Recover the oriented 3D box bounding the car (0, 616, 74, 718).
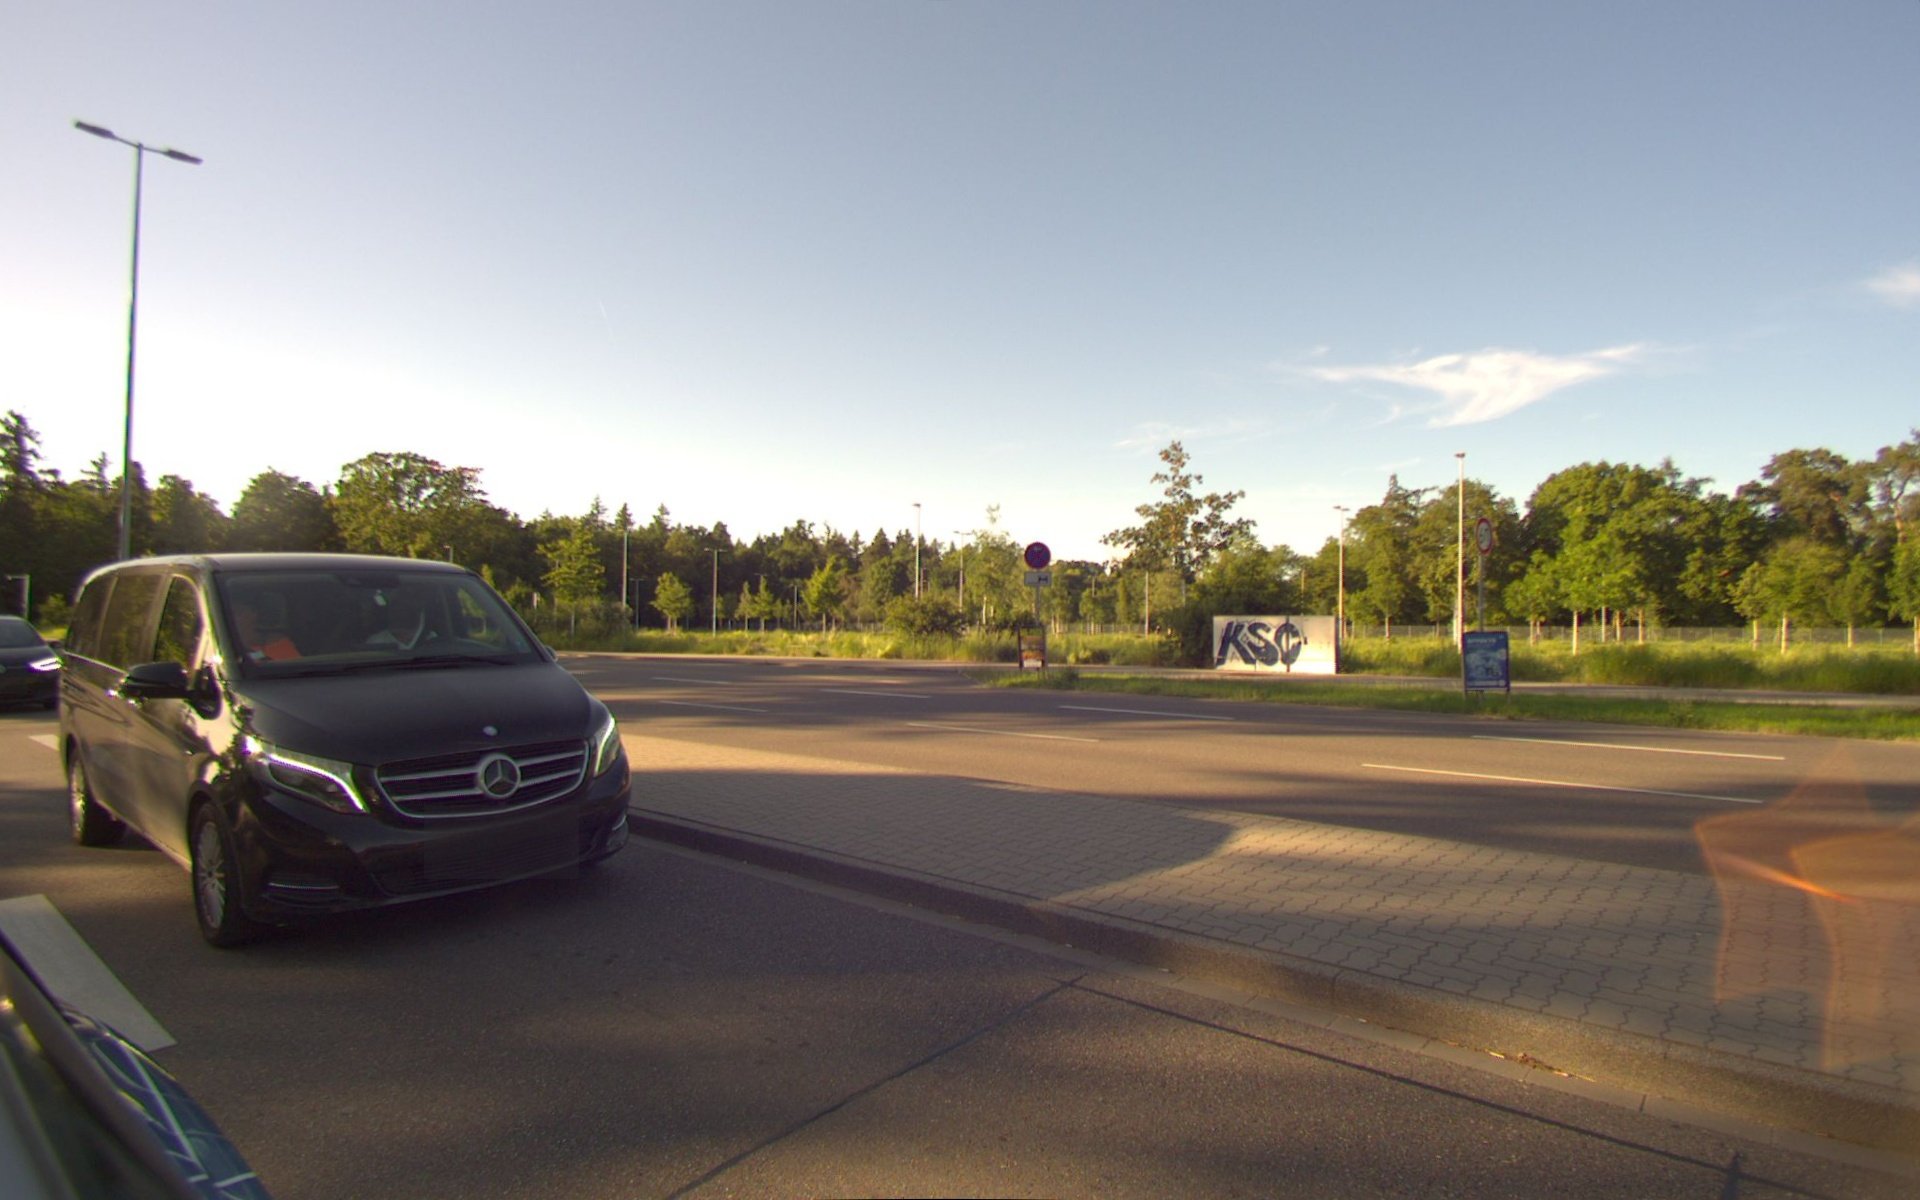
[{"bbox_3d":[-16.296,1.060,16.757,3.997,1.548,1.859,-1,0,40],"label":"car"}]

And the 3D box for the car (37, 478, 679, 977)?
[{"bbox_3d":[-3.925,0.538,6.122,4.870,1.870,1.887,-2,-1,41],"label":"car"}]
